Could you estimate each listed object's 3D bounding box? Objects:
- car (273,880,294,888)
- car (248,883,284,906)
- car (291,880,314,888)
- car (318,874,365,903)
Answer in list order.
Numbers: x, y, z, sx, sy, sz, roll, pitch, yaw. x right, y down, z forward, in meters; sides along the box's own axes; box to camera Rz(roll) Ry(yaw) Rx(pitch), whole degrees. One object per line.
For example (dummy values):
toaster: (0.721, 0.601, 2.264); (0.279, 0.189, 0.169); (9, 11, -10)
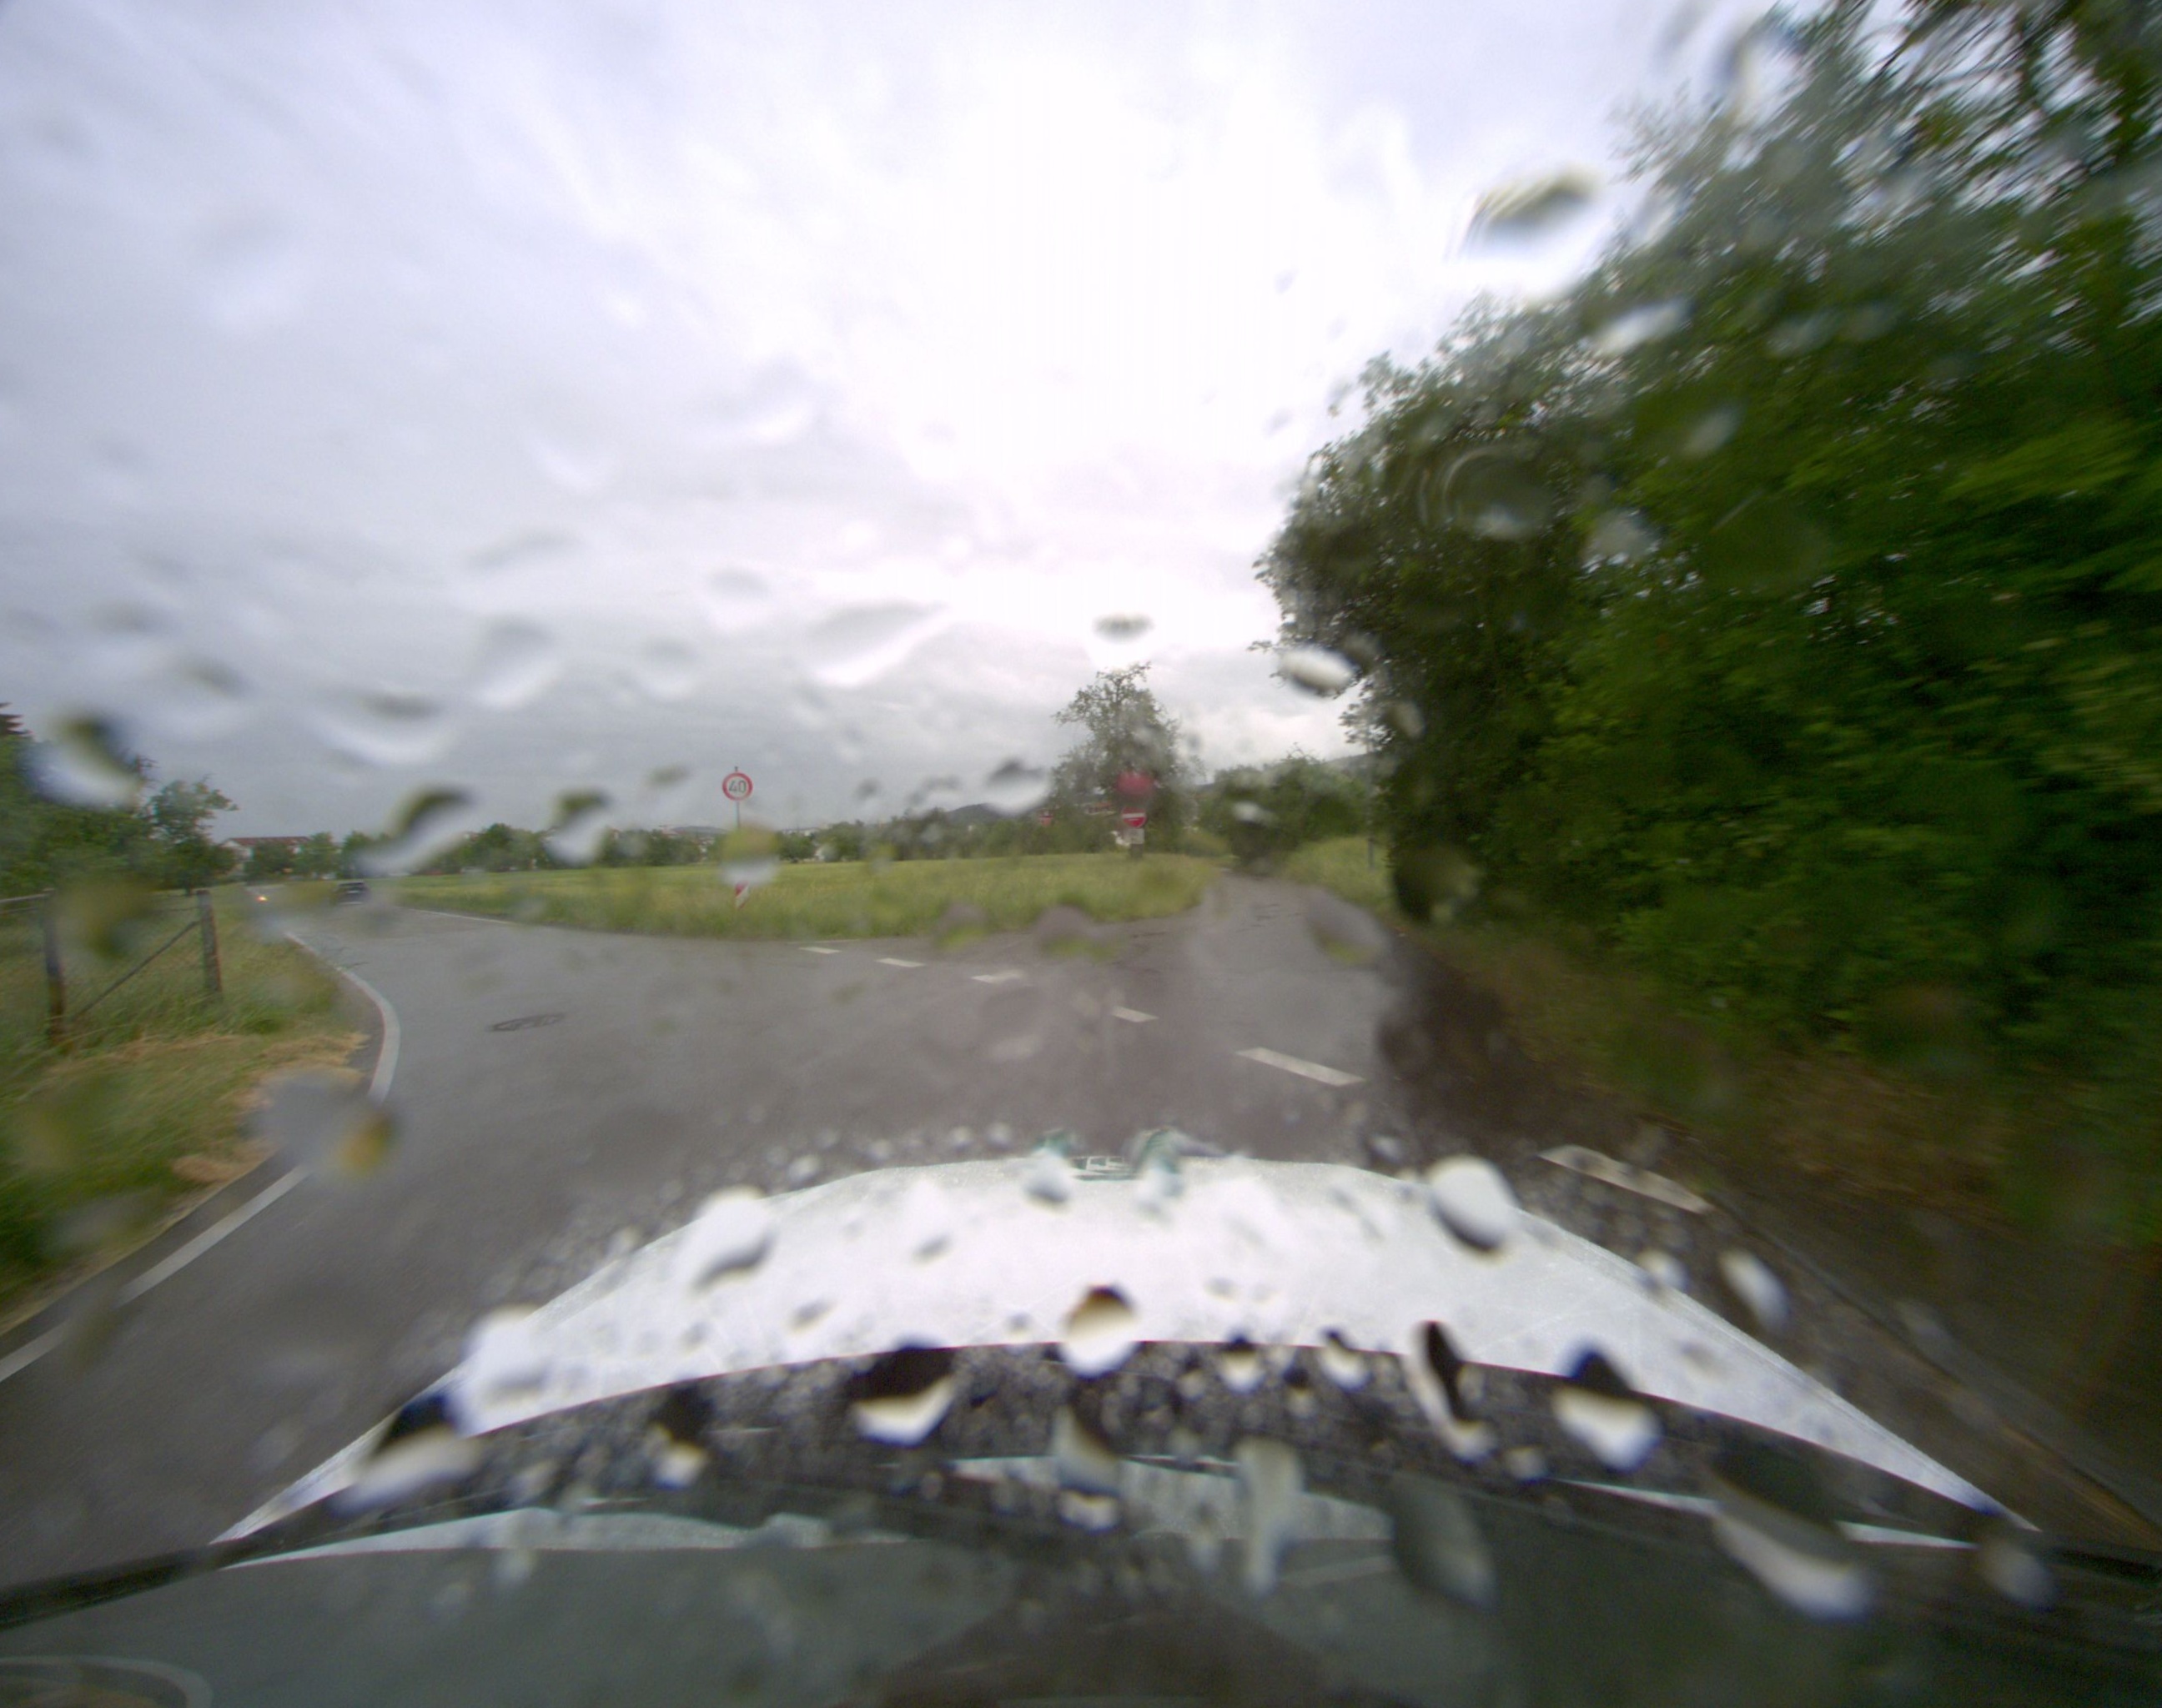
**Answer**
car: (-172.587, 6.458, 176.286); (1.667, 1.546, 3.972); (-4, 1, -21)
car: (-59.979, 3.011, 59.951); (4.071, 1.471, 1.756); (-3, 1, 45)
car: (-174.165, 6.650, 182.160); (1.661, 1.546, 3.986); (-4, 1, -10)
car: (-45.172, 2.115, 49.704); (3.950, 1.593, 1.832); (-3, 1, 45)
